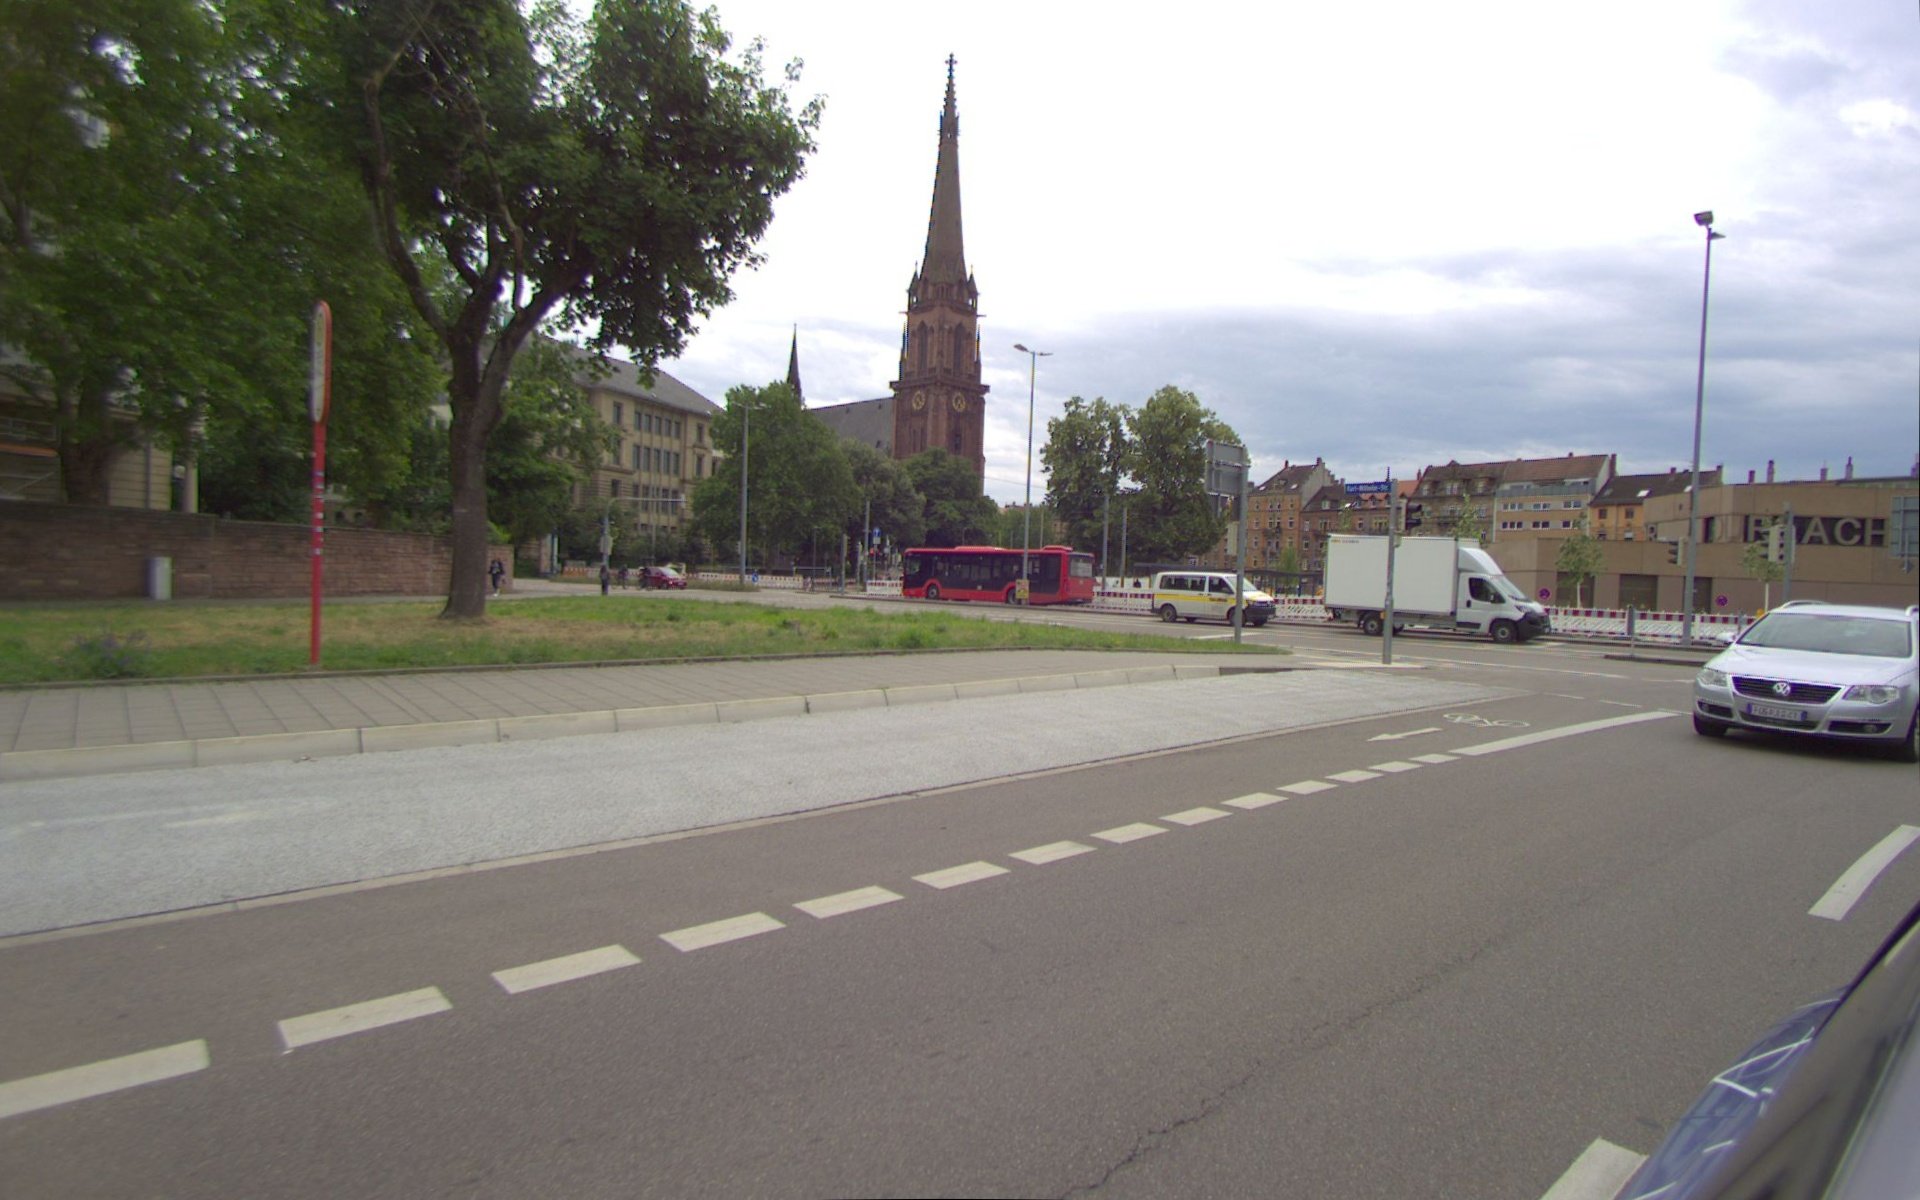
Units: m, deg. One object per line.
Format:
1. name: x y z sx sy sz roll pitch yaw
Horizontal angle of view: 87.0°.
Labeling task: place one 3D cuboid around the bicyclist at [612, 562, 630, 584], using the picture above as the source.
1. bicyclist: -22.393 -1.793 66.842 0.736 1.373 0.783 4 2 34

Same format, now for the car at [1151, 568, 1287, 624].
1. car: 9.788 -0.216 38.464 1.889 1.943 4.704 -1 3 -44

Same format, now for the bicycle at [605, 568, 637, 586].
1. bicycle: -22.383 -1.529 66.837 2.208 1.051 0.783 5 3 35

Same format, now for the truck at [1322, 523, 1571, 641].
1. truck: 15.600 -0.670 32.821 6.833 3.453 2.521 2 3 44

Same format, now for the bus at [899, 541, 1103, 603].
1. bus: 1.847 -1.573 54.001 2.890 2.944 12.064 1 1 -45

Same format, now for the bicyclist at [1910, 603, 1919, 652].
1. bicyclist: 33.231 0.952 34.693 0.867 1.655 0.695 2 2 -35

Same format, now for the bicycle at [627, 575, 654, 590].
1. bicycle: -20.496 -1.135 64.943 1.809 0.830 0.594 5 3 34

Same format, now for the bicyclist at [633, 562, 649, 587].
1. bicyclist: -20.450 -1.641 64.917 0.777 1.540 0.594 4 2 33

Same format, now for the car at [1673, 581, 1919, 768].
1. car: 9.588 0.668 10.899 4.443 1.569 1.830 1 2 -37

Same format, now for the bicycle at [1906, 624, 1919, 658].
1. bicycle: 33.212 1.416 34.710 1.832 1.143 0.695 2 2 -35

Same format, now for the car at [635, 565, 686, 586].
1. car: -20.105 -1.663 67.844 3.517 1.170 1.428 5 3 36

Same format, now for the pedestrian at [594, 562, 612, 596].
1. pedestrian: -17.885 -1.053 50.651 0.678 1.659 0.874 2 0 -28

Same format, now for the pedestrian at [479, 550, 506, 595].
1. pedestrian: -18.901 -1.116 40.934 0.742 1.756 0.824 3 2 -7
